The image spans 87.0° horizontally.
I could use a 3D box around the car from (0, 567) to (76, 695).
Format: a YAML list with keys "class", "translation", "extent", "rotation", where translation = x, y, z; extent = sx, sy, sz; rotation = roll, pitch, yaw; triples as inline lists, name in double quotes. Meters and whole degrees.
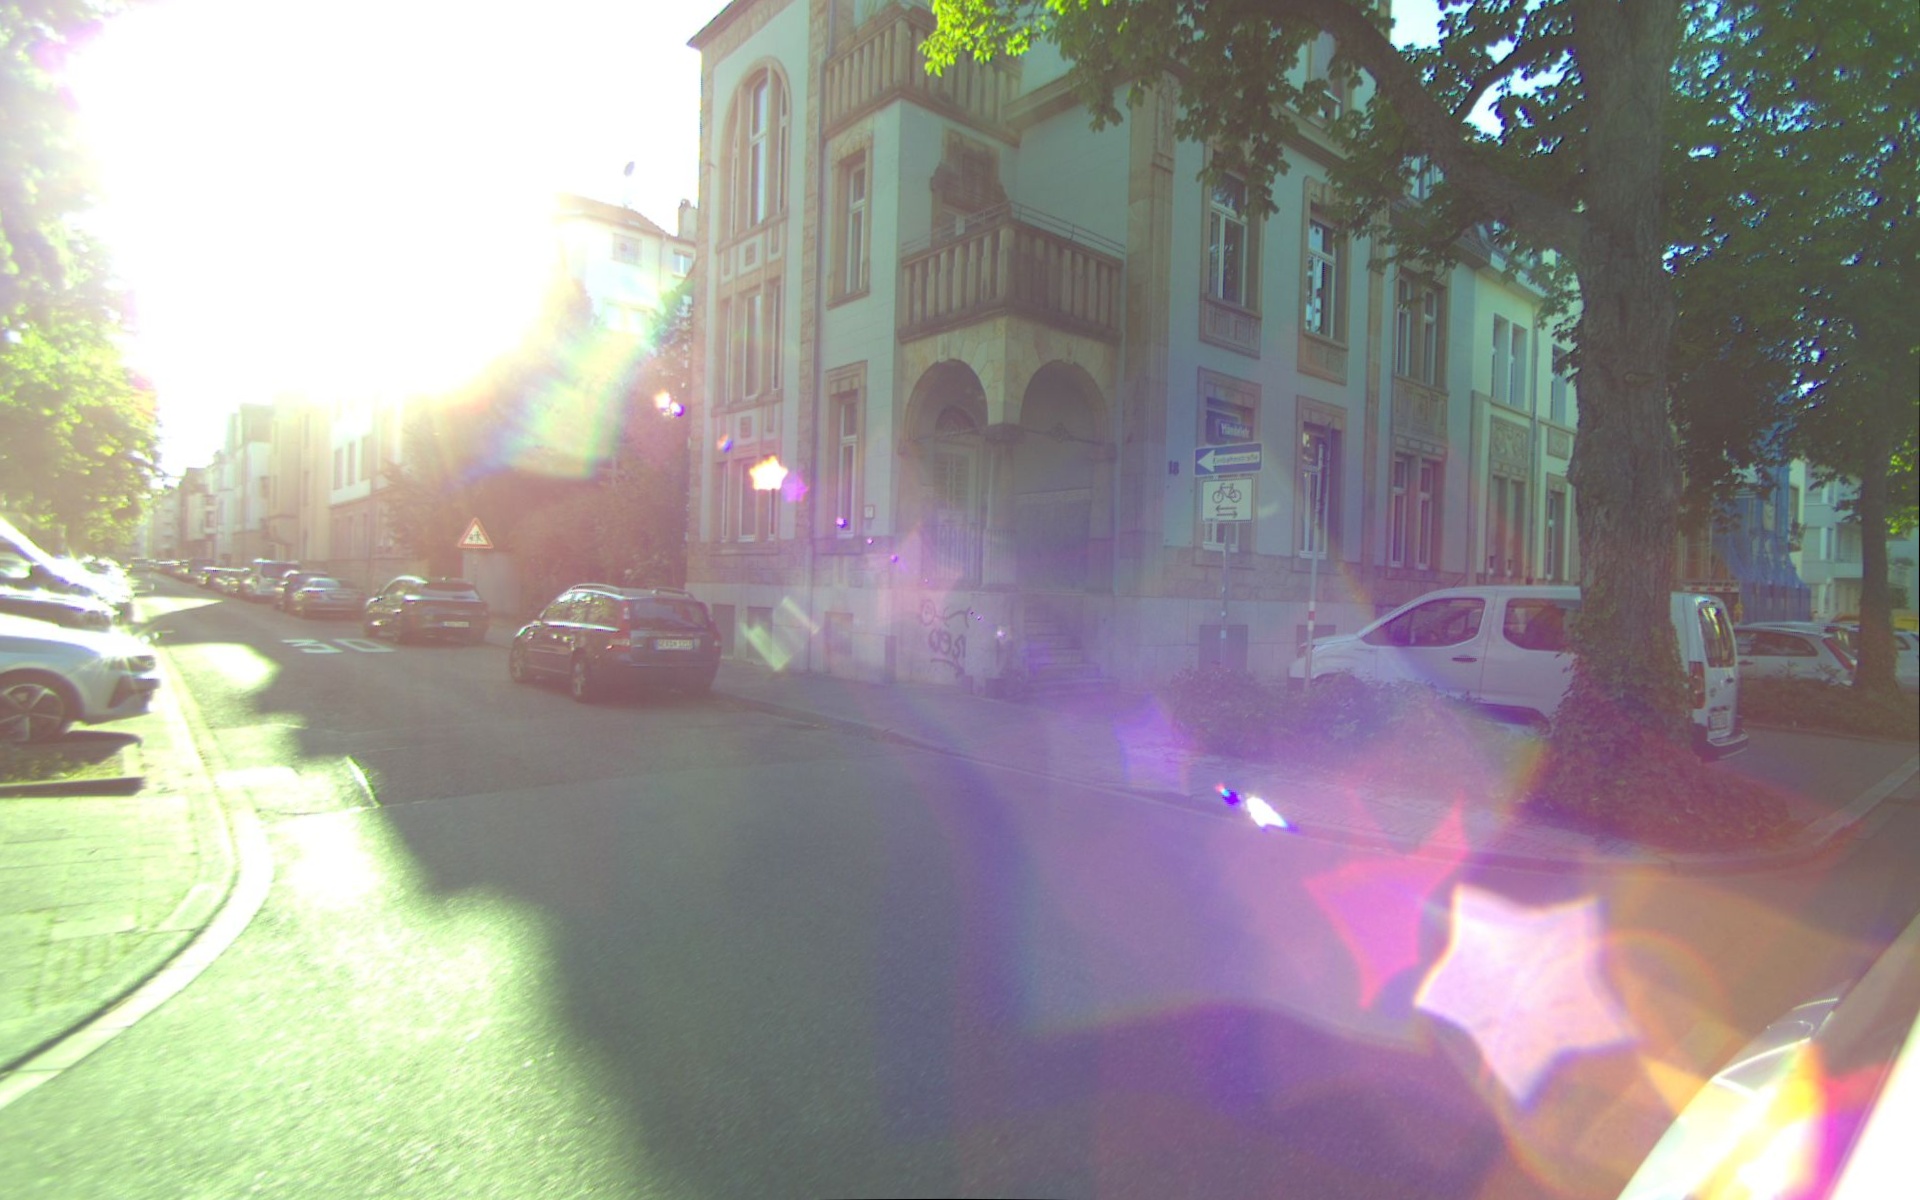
- class: "car"
  translation: [-12.610, 0.282, 10.985]
  extent: [4.448, 1.427, 1.847]
  rotation: [2, 0, -41]

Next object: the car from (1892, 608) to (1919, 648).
- class: "car"
  translation: [44.252, 1.366, 44.743]
  extent: [1.676, 1.704, 4.338]
  rotation: [2, 1, -43]

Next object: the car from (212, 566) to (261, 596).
- class: "car"
  translation: [-39.111, -1.045, 54.659]
  extent: [1.726, 1.494, 4.164]
  rotation: [3, 0, -41]

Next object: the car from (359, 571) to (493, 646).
- class: "car"
  translation: [-12.018, 0.151, 22.647]
  extent: [1.726, 1.494, 4.164]
  rotation: [3, 0, -41]

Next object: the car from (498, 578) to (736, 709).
- class: "car"
  translation: [-4.881, 0.514, 14.048]
  extent: [1.626, 1.495, 4.164]
  rotation: [4, -1, -41]

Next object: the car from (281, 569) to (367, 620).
- class: "car"
  translation: [-20.753, -0.207, 32.965]
  extent: [1.726, 1.494, 4.164]
  rotation: [3, 0, -41]

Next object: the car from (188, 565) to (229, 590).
- class: "car"
  translation: [-47.512, -1.430, 63.979]
  extent: [1.726, 1.494, 4.164]
  rotation: [3, 0, -41]

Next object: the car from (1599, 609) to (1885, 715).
- class: "car"
  translation: [13.929, 1.019, 18.177]
  extent: [1.703, 1.481, 3.756]
  rotation: [2, 2, -41]

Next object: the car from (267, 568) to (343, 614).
- class: "car"
  translation: [-23.922, -0.356, 36.926]
  extent: [1.726, 1.494, 4.164]
  rotation: [3, 0, -41]

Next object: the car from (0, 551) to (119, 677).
- class: "car"
  translation: [-13.703, 0.131, 13.155]
  extent: [4.210, 1.628, 1.727]
  rotation: [2, 0, -41]

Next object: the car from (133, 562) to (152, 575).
- class: "car"
  translation: [-102.877, -3.965, 127.340]
  extent: [1.726, 1.494, 4.164]
  rotation: [3, 0, -41]

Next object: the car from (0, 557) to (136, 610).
- class: "car"
  translation: [-30.002, -0.557, 33.832]
  extent: [3.723, 1.616, 1.669]
  rotation: [2, 0, -41]

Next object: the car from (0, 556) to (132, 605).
- class: "car"
  translation: [-33.119, -0.711, 37.464]
  extent: [3.723, 1.616, 1.669]
  rotation: [2, 0, -41]

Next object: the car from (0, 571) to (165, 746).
- class: "car"
  translation: [-9.370, 0.430, 8.296]
  extent: [4.389, 1.427, 1.787]
  rotation: [2, 0, -41]

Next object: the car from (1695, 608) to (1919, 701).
- class: "car"
  translation: [17.949, 1.076, 20.904]
  extent: [1.656, 1.553, 4.156]
  rotation: [2, 2, -38]

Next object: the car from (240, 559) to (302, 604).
- class: "car"
  translation: [-30.365, -0.836, 44.527]
  extent: [1.726, 1.862, 4.164]
  rotation: [3, 0, -41]

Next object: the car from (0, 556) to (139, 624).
- class: "car"
  translation: [-23.651, -0.266, 26.094]
  extent: [3.783, 1.616, 1.669]
  rotation: [2, 0, -41]

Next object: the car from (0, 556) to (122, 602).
- class: "car"
  translation: [-34.717, -0.805, 38.948]
  extent: [3.723, 1.616, 1.669]
  rotation: [2, 0, -41]

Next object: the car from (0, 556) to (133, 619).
- class: "car"
  translation: [-25.366, -0.356, 27.983]
  extent: [3.783, 1.616, 1.669]
  rotation: [2, 0, -41]

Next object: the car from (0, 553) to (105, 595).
- class: "car"
  translation: [-41.495, -1.184, 46.150]
  extent: [3.723, 1.715, 1.669]
  rotation: [2, 0, -41]

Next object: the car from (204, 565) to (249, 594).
- class: "car"
  translation: [-42.309, -1.190, 58.336]
  extent: [1.726, 1.494, 4.164]
  rotation: [3, 0, -41]

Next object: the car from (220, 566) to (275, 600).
- class: "car"
  translation: [-34.653, -0.834, 49.177]
  extent: [1.726, 1.494, 4.164]
  rotation: [3, 0, -41]

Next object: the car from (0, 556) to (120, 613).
- class: "car"
  translation: [-28.444, -0.487, 31.248]
  extent: [3.783, 1.616, 1.669]
  rotation: [2, 0, -41]

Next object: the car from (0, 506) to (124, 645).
- class: "car"
  translation: [-18.012, -0.482, 18.245]
  extent: [4.440, 2.451, 1.876]
  rotation: [2, 0, -40]

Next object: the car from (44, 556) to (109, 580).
- class: "car"
  translation: [-68.562, -2.473, 78.576]
  extent: [3.723, 1.616, 1.669]
  rotation: [2, 0, -41]

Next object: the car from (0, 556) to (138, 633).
- class: "car"
  translation: [-20.735, -0.138, 22.479]
  extent: [3.783, 1.616, 1.669]
  rotation: [2, 0, -41]

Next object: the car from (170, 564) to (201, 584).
- class: "car"
  translation: [-63.927, -2.180, 83.508]
  extent: [1.726, 1.494, 4.164]
  rotation: [3, 0, -41]

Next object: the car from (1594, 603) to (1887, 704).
- class: "car"
  translation: [15.441, 0.970, 20.222]
  extent: [1.796, 1.553, 4.324]
  rotation: [2, 2, -40]

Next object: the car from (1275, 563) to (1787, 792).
- class: "car"
  translation: [5.870, 0.622, 10.855]
  extent: [1.965, 1.829, 4.324]
  rotation: [2, 2, -41]

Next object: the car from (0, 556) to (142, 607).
- class: "car"
  translation: [-31.418, -0.652, 35.856]
  extent: [3.723, 1.616, 1.669]
  rotation: [2, 0, -41]

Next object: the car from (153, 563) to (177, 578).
- class: "car"
  translation: [-83.091, -3.064, 105.796]
  extent: [1.726, 1.494, 4.164]
  rotation: [3, 0, -41]

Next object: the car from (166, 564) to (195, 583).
- class: "car"
  translation: [-68.885, -2.355, 89.421]
  extent: [1.726, 1.494, 4.164]
  rotation: [3, 0, -41]

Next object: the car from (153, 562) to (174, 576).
- class: "car"
  translation: [-95.129, -3.717, 120.899]
  extent: [1.726, 1.494, 4.164]
  rotation: [3, 0, -41]
